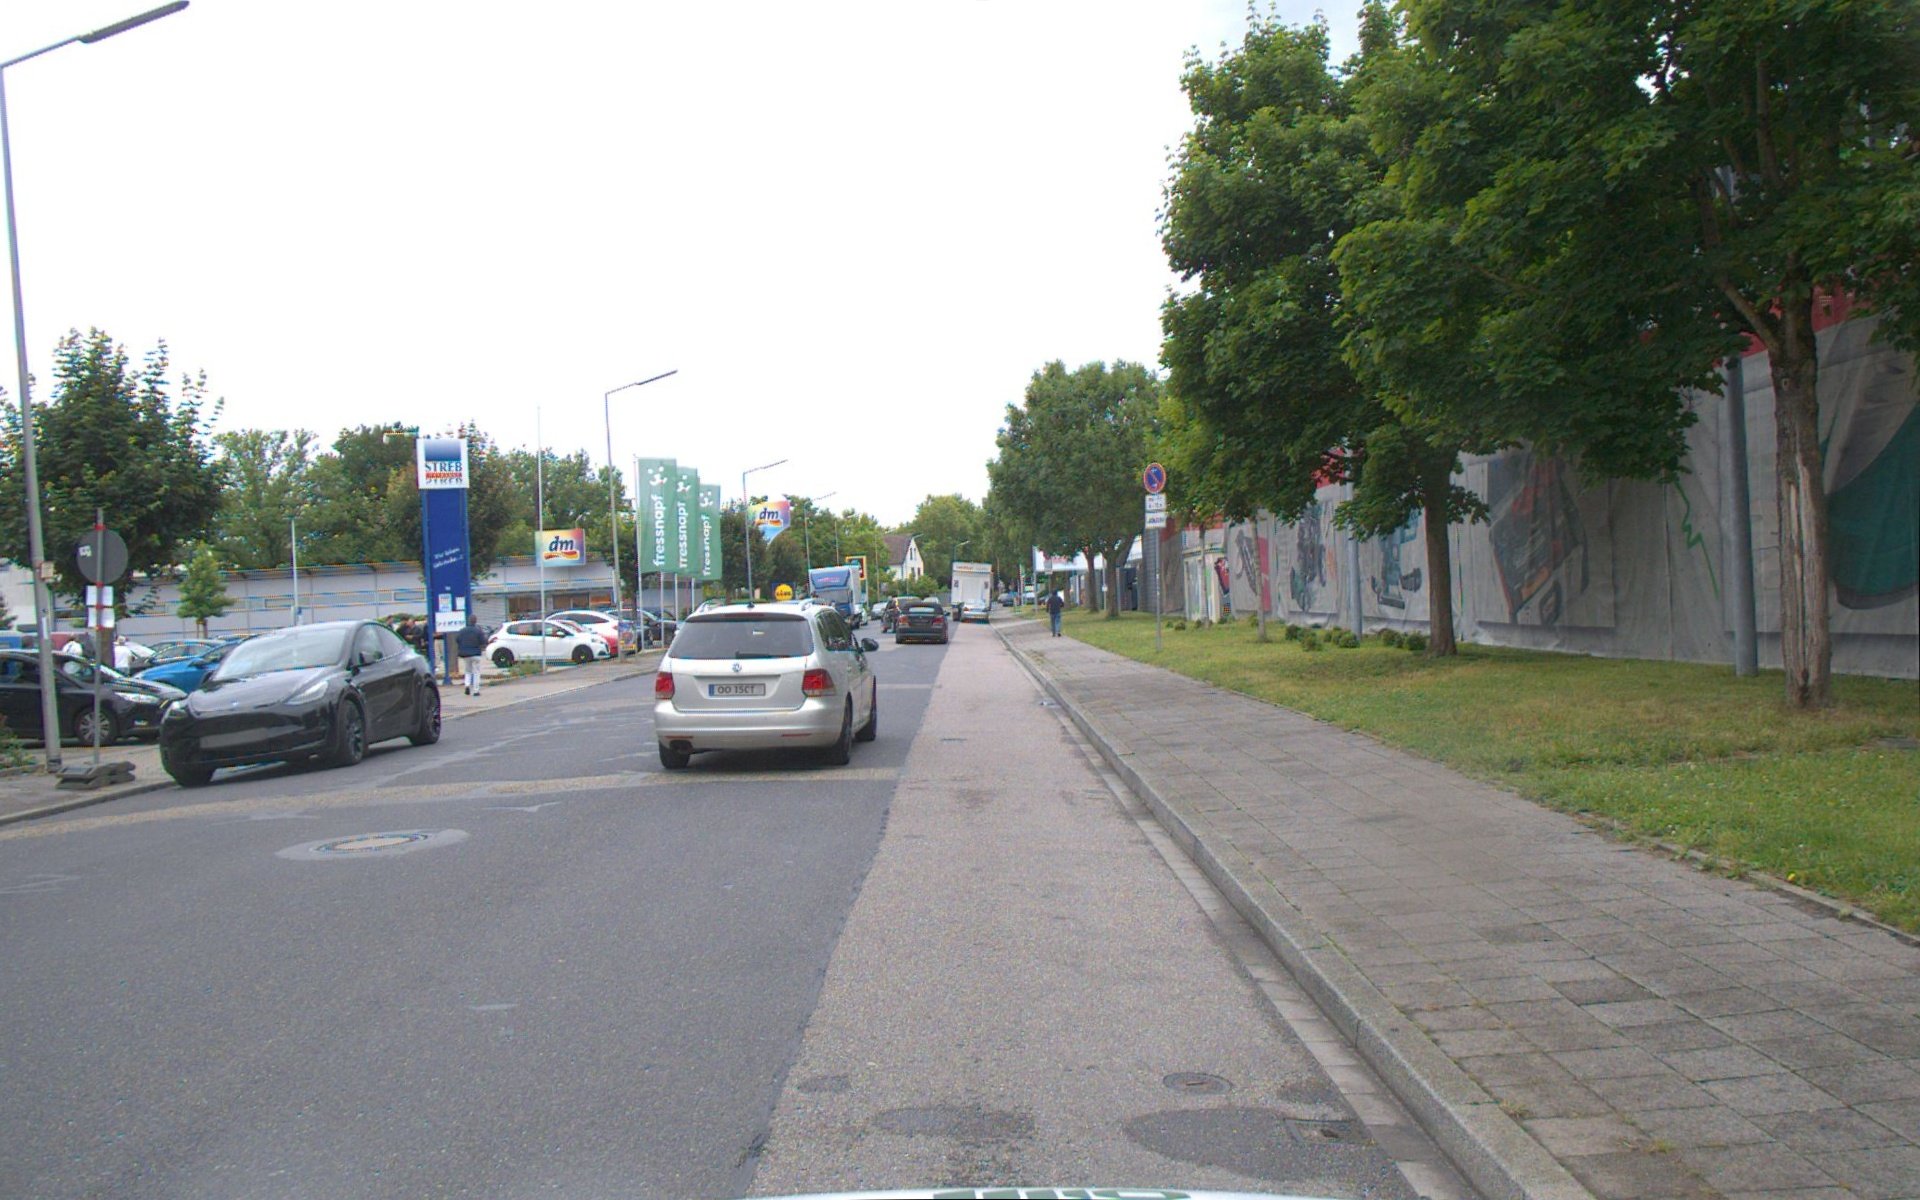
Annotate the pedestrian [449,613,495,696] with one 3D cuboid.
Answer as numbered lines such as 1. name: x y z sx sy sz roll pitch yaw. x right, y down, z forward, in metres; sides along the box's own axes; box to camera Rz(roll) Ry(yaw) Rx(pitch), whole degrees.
1. pedestrian: -10.680 1.184 36.218 0.760 1.745 0.696 -2 0 -4

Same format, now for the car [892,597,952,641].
1. car: -1.260 0.647 56.448 1.709 1.382 4.139 -3 -1 2

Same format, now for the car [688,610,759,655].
1. car: -8.297 1.119 58.328 1.859 1.391 4.000 -3 0 0

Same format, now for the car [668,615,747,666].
1. car: -7.793 1.224 51.324 1.860 1.391 3.999 -3 0 -1

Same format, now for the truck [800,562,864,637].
1. truck: -7.444 -0.024 97.208 2.913 4.024 6.405 -4 0 1

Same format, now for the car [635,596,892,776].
1. car: -1.733 0.718 15.966 1.716 1.476 4.299 -1 0 3

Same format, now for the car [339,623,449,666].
1. car: -23.628 1.851 69.183 3.905 1.518 1.786 -3 0 1

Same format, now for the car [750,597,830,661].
1. car: -5.020 0.833 49.354 1.953 1.713 3.999 -3 0 -1

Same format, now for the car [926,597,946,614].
1. car: -2.471 0.565 171.052 1.848 1.558 4.254 -3 0 1

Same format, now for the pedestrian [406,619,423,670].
1. pedestrian: -17.402 1.410 52.754 0.352 1.597 0.503 -3 0 -10

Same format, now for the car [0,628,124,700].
1. car: -24.468 1.715 43.486 3.905 1.698 1.876 -3 0 0

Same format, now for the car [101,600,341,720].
1. car: -14.523 1.156 32.683 3.855 2.048 1.758 -4 0 -7

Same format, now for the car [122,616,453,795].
1. car: -7.472 1.085 18.926 1.908 1.552 4.401 -7 0 -1

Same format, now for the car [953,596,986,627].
1. car: 0.556 0.714 102.376 1.953 1.837 3.999 -1 -1 -1

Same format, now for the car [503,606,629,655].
1. car: -13.954 1.077 58.796 4.055 1.488 1.896 -3 0 -5

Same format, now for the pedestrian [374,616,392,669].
1. pedestrian: -18.389 1.351 52.704 0.448 1.670 0.372 -3 0 -17

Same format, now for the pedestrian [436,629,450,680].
1. pedestrian: -16.348 1.727 52.293 0.324 1.597 0.502 -1 0 -11

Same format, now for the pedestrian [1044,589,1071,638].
1. pedestrian: 3.382 0.476 57.543 0.900 1.663 0.853 -1 -1 2

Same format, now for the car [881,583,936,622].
1. car: -2.418 0.135 76.550 1.654 1.660 3.743 -3 0 -16

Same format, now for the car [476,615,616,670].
1. car: -13.415 1.359 53.755 4.124 1.488 1.950 -4 0 -7

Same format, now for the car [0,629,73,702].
1. car: -24.541 1.693 41.072 3.905 1.698 1.876 -3 0 0

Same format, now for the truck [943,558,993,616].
1. truck: 0.483 -0.771 111.687 3.071 3.647 10.048 -1 -1 -1

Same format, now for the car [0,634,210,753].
1. car: -13.869 1.418 25.360 3.794 1.649 1.928 -2 0 0

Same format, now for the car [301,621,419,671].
1. car: -23.664 1.821 65.310 3.905 1.698 1.876 -3 0 0
